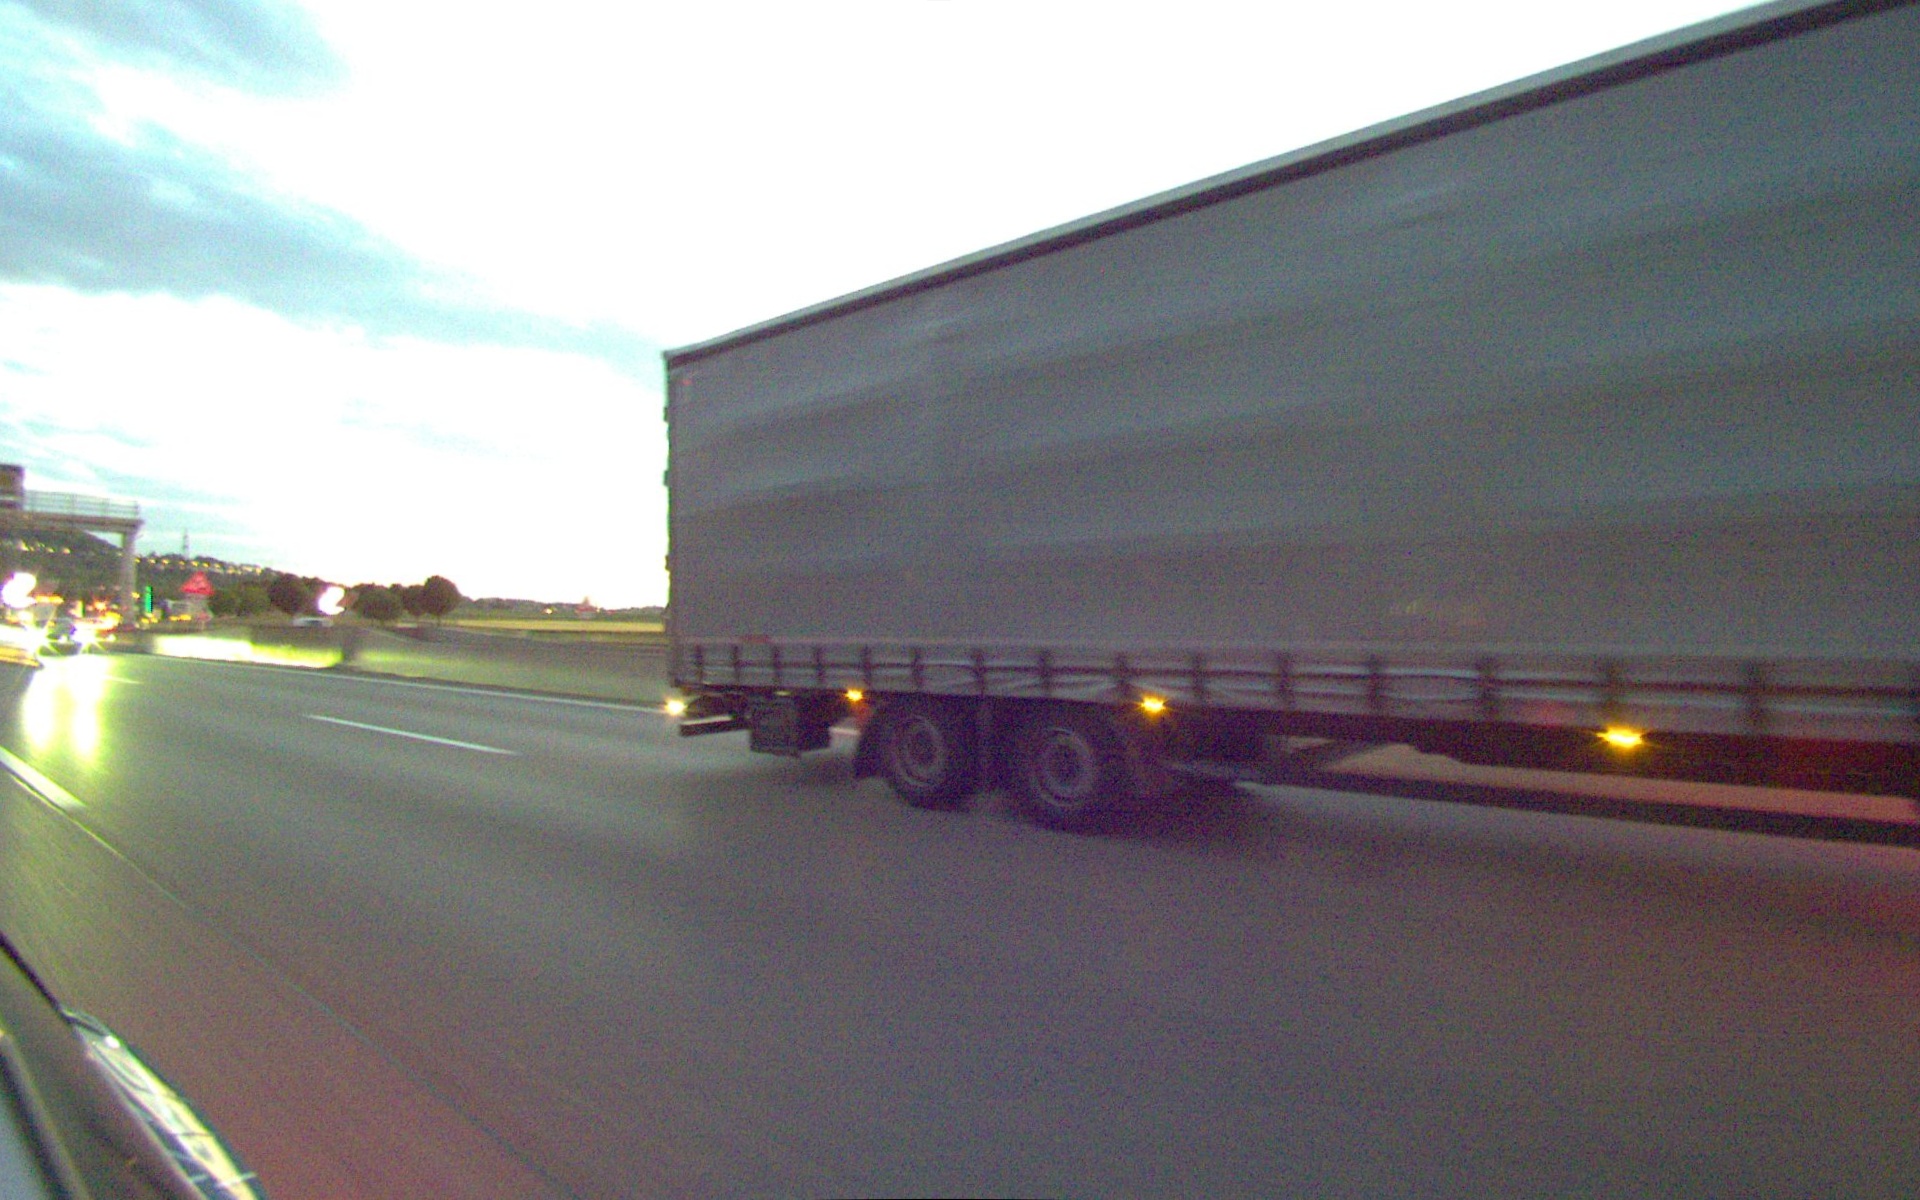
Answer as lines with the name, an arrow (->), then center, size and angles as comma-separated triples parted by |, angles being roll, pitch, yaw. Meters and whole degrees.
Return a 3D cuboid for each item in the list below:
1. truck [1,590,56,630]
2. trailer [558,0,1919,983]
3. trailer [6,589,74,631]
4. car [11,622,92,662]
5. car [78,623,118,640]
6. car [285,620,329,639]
truck -> -144.059, 1.516, 156.455 | 9.640, 5.834, 5.263 | -1, 0, 41
trailer -> 2.125, -0.593, 6.892 | 14.519, 4.116, 2.765 | -1, -1, 41
trailer -> -135.681, 1.404, 149.095 | 19.205, 5.829, 5.248 | -1, 0, 41
car -> -37.327, 1.675, 41.530 | 5.391, 1.448, 1.796 | -1, 0, 41
car -> -68.071, 2.449, 79.908 | 3.998, 1.213, 1.843 | -1, 0, 41
car -> -43.140, 1.936, 66.869 | 3.608, 1.200, 1.520 | -1, 0, 41
